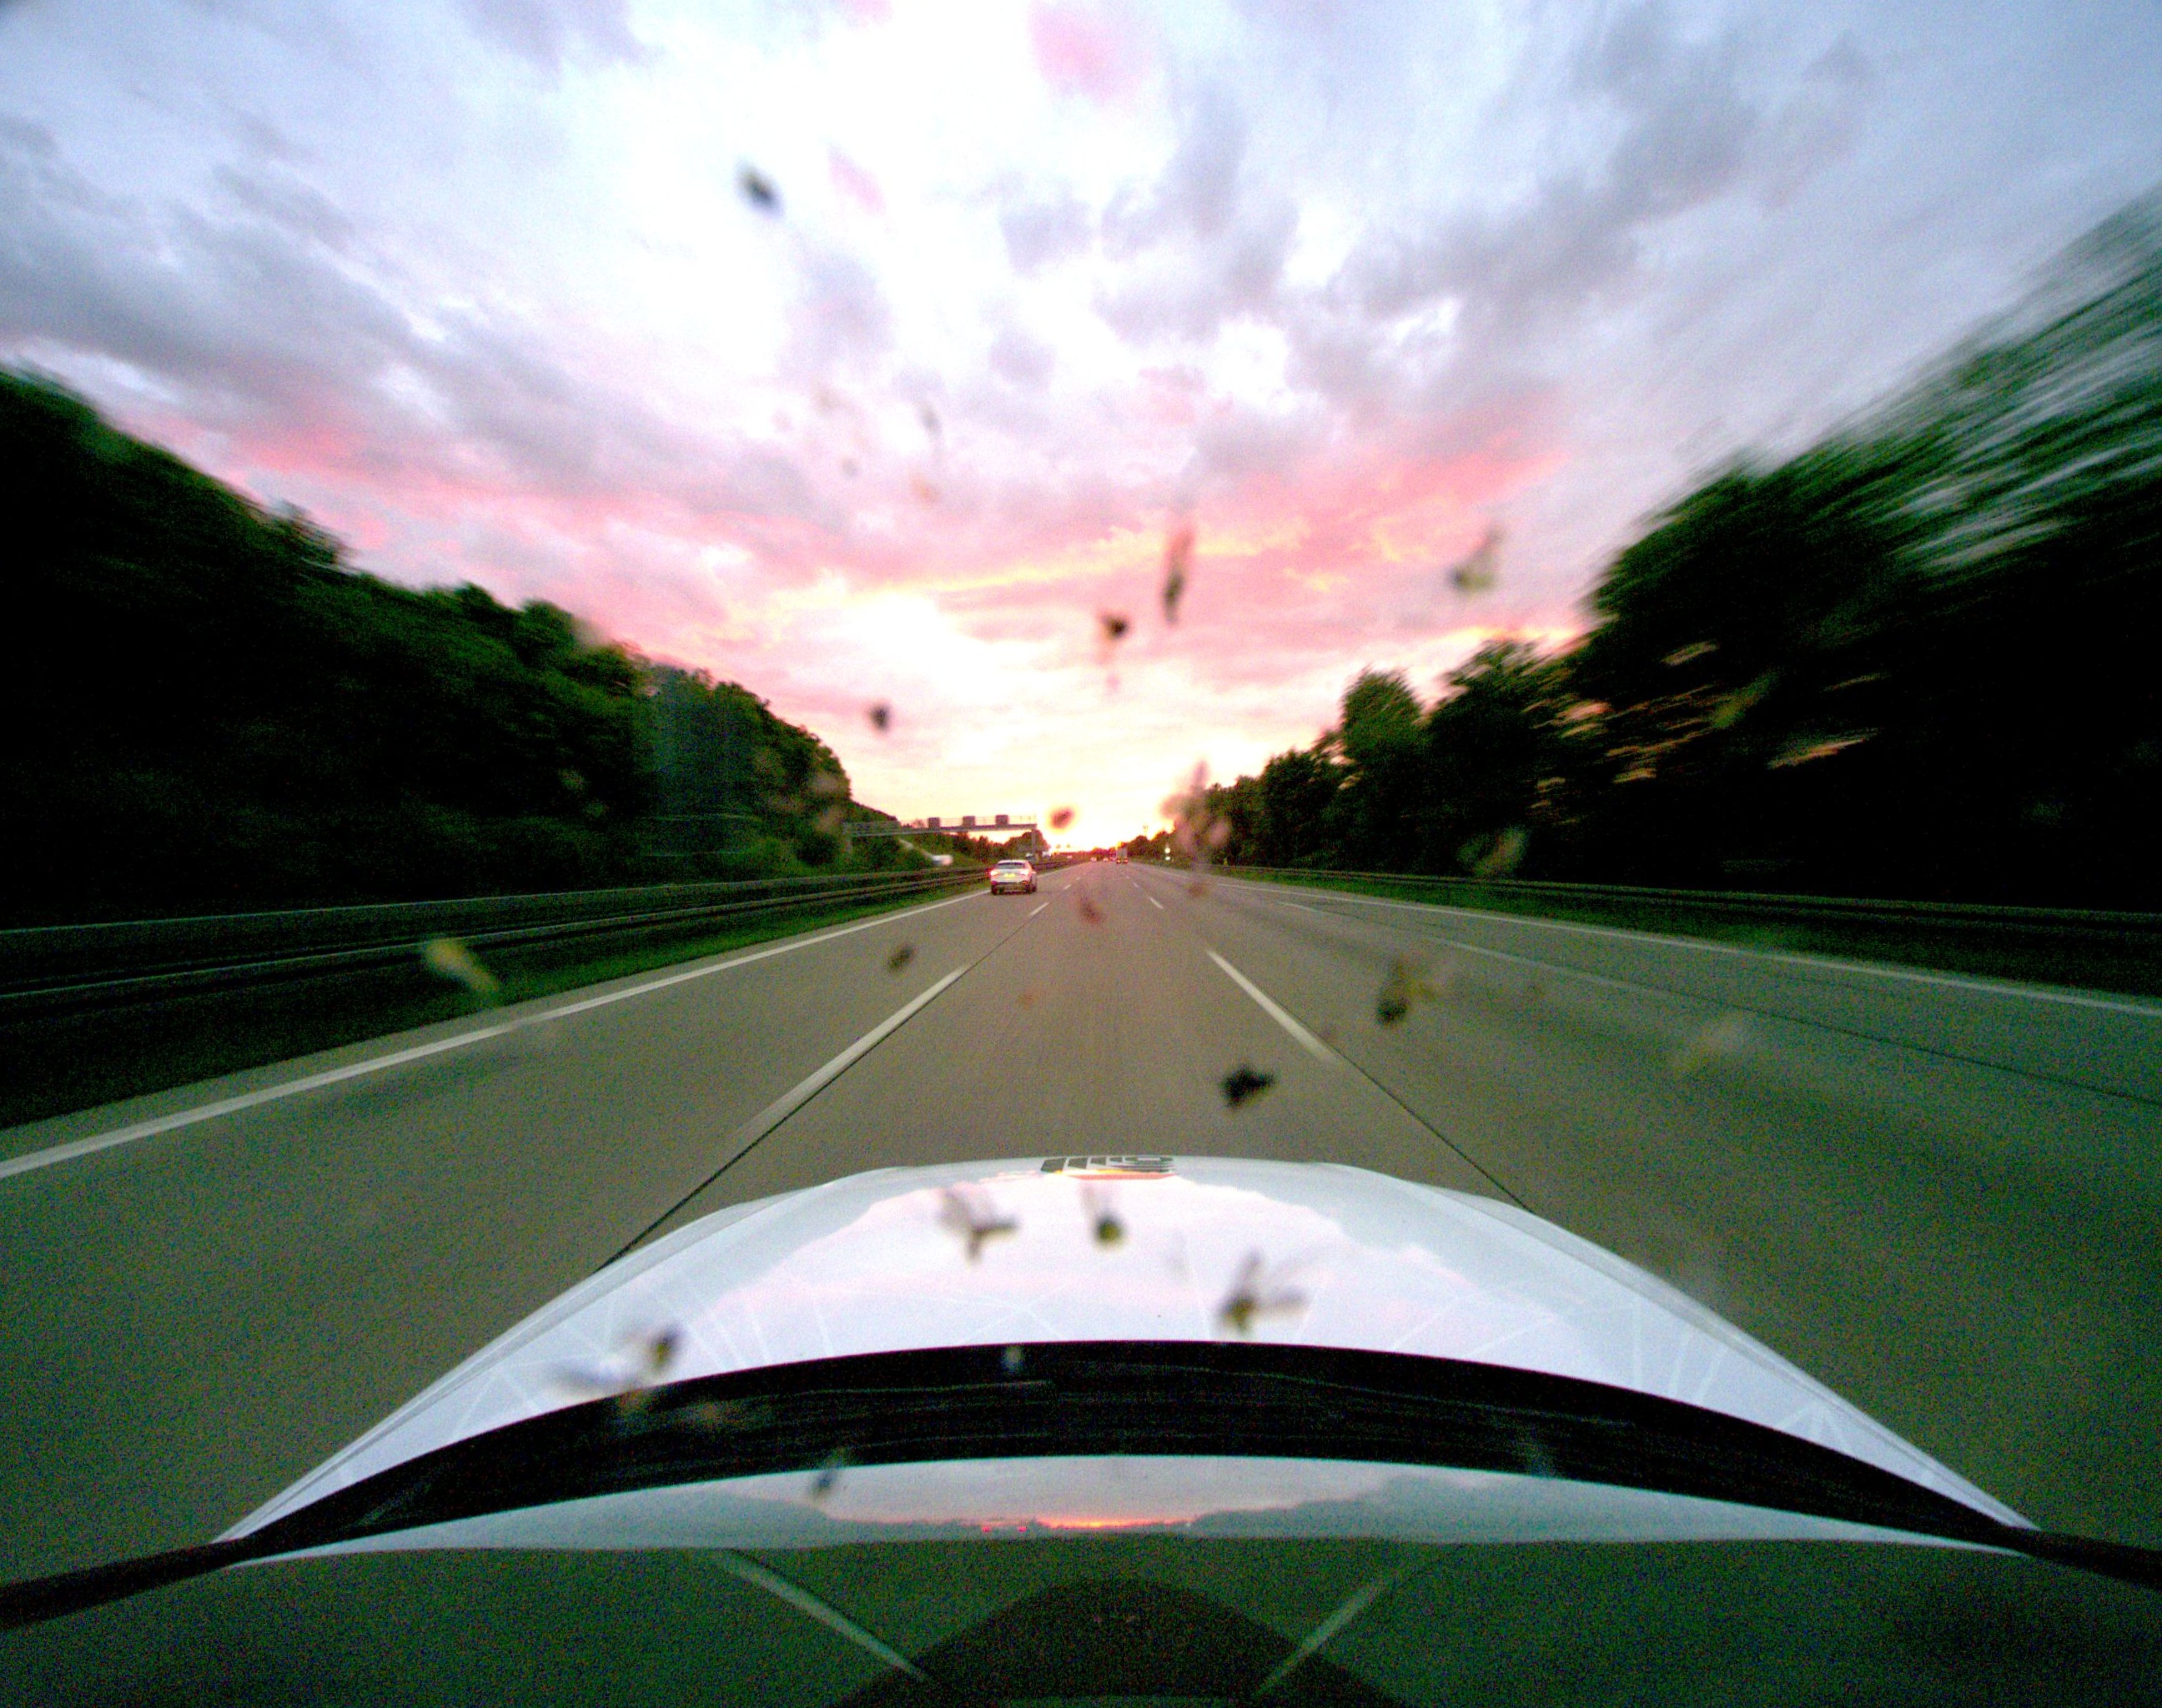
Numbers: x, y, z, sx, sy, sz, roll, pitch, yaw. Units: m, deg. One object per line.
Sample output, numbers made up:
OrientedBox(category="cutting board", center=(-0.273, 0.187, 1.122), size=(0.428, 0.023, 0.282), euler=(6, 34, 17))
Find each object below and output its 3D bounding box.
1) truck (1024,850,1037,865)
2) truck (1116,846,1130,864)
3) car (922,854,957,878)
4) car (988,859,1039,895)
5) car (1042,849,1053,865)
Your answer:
OrientedBox(category="truck", center=(-14.561, 1.043, 235.370), size=(2.846, 4.210, 5.867), euler=(-2, -1, 2))
OrientedBox(category="truck", center=(10.297, 0.294, 200.977), size=(3.231, 4.127, 9.793), euler=(-2, -1, 3))
OrientedBox(category="car", center=(-14.396, 1.208, 83.227), size=(2.130, 2.359, 6.721), euler=(-2, 0, 1))
OrientedBox(category="car", center=(-2.998, 1.000, 37.324), size=(1.783, 1.501, 5.039), euler=(-1, 0, 1))
OrientedBox(category="car", center=(-9.889, 0.908, 238.907), size=(2.788, 4.487, 5.931), euler=(-2, -1, 1))
